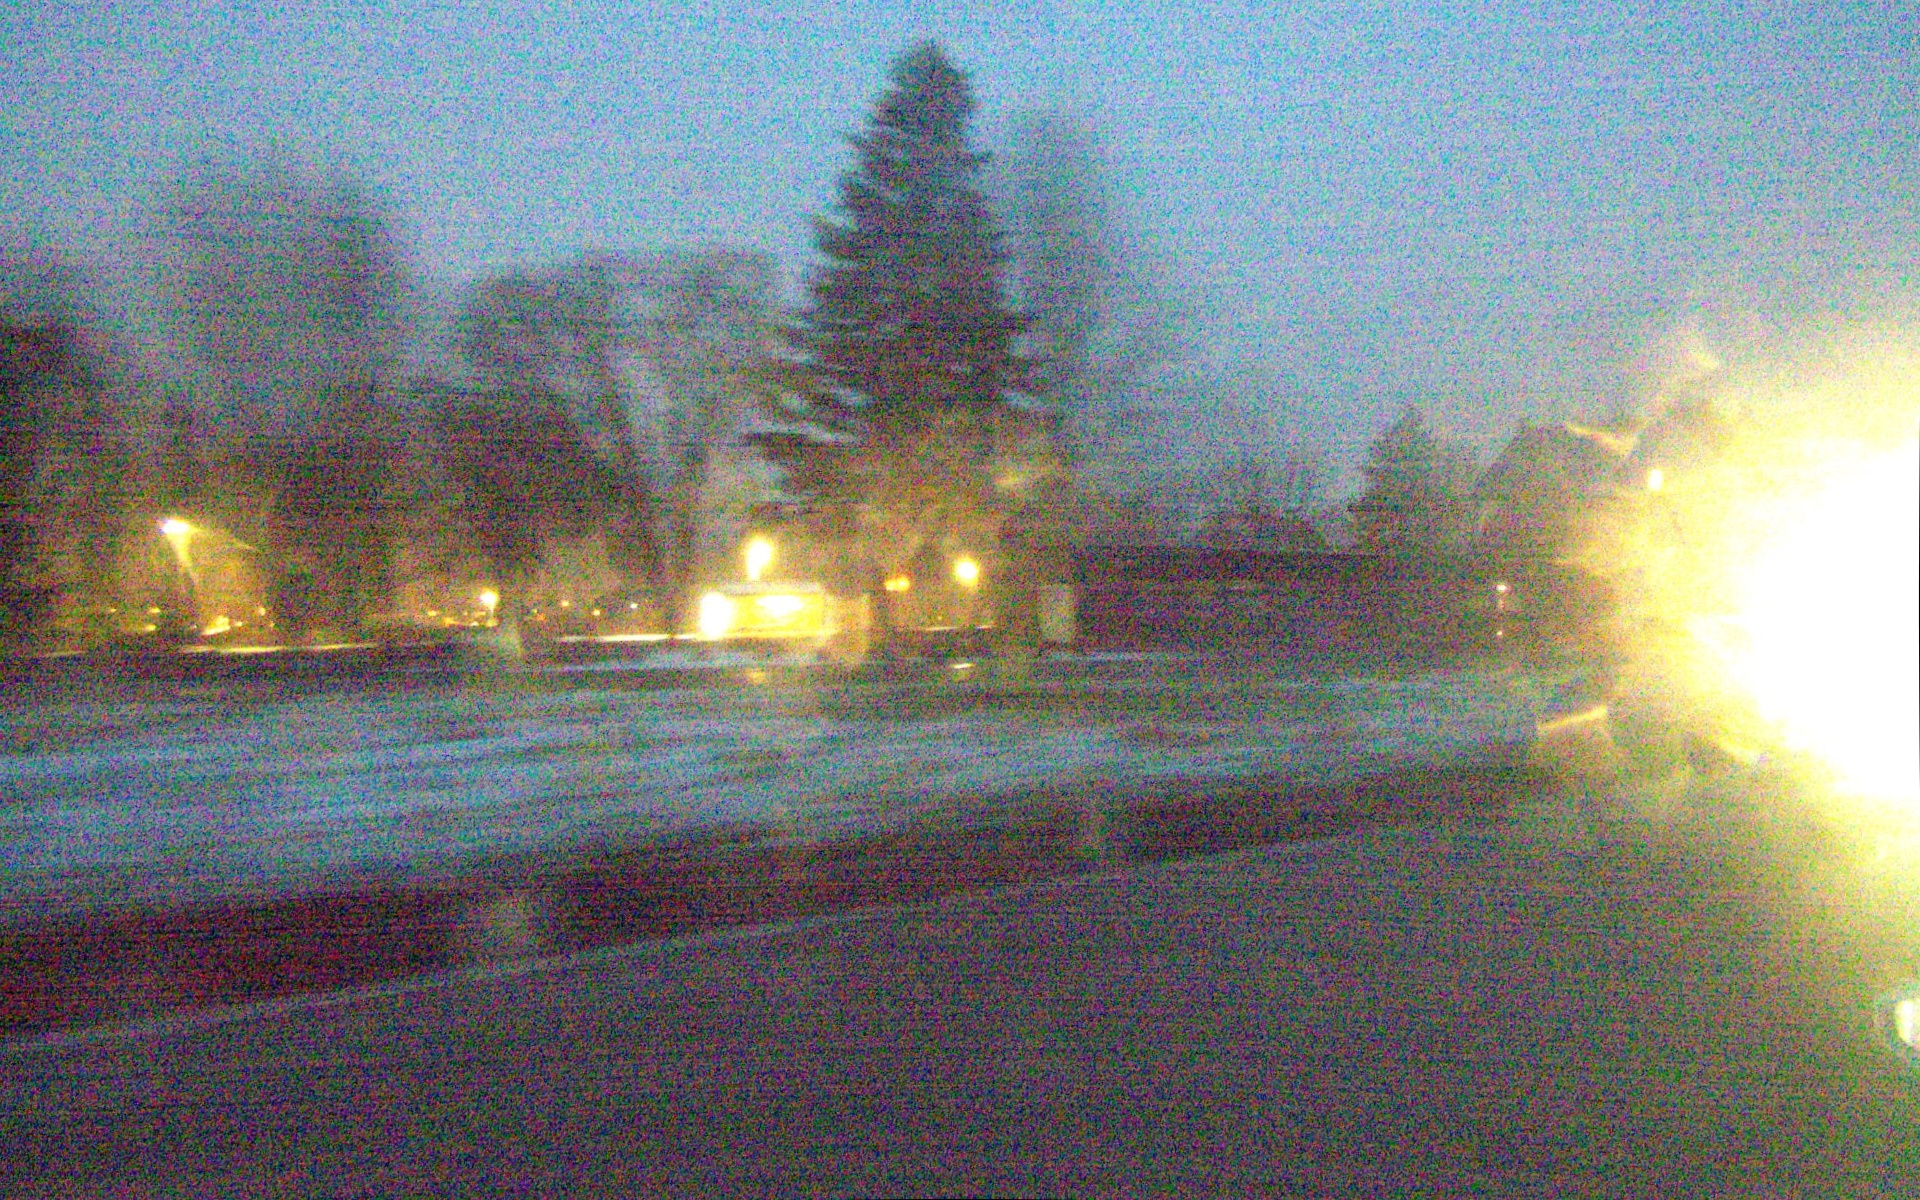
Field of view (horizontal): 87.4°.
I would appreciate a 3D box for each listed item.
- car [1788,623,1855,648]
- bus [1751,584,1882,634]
[{"bbox_3d":[50.433,2.058,58.784,4.101,1.416,1.681,0,-1,-30],"label":"car"},{"bbox_3d":[72.313,0.616,85.318,2.843,3.920,13.064,1,1,14],"label":"bus"}]
